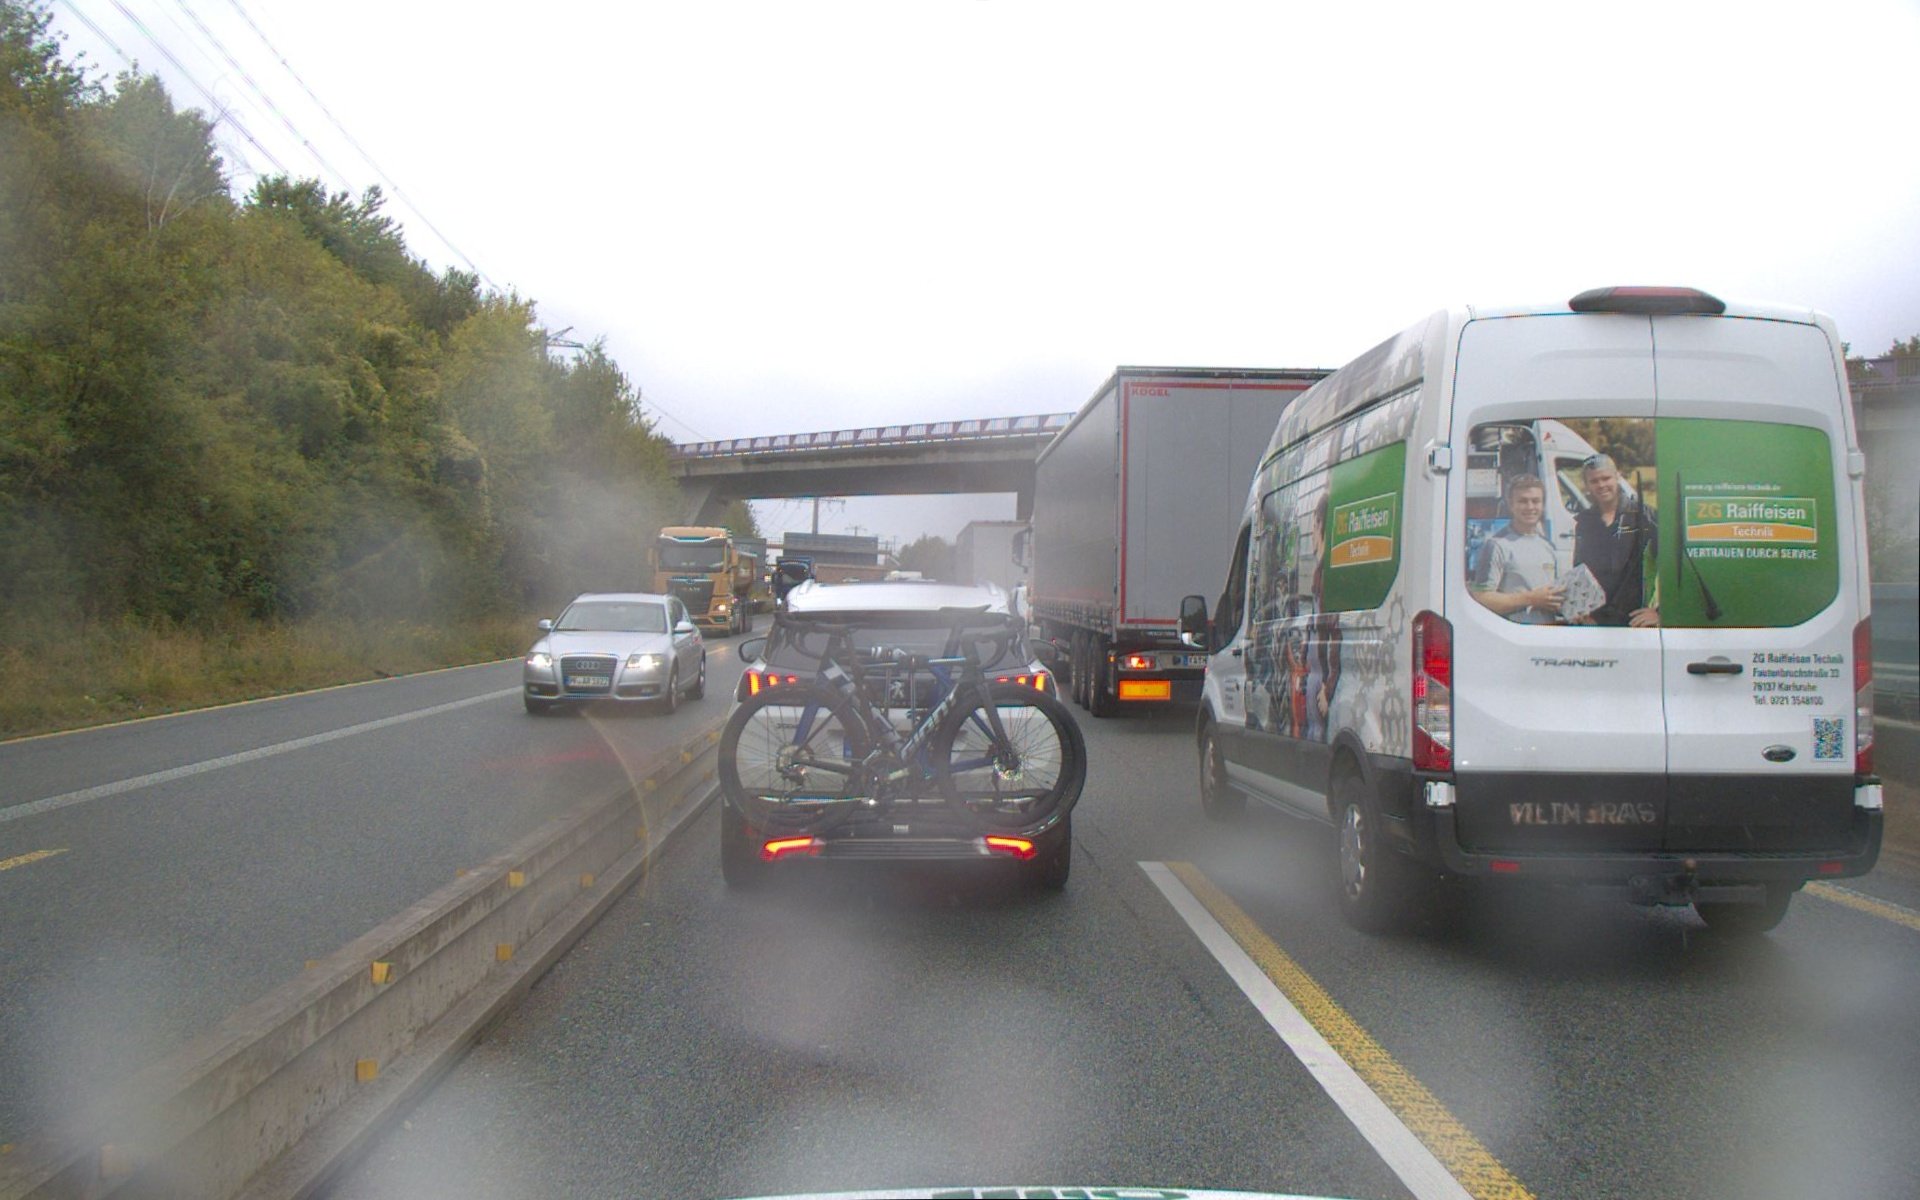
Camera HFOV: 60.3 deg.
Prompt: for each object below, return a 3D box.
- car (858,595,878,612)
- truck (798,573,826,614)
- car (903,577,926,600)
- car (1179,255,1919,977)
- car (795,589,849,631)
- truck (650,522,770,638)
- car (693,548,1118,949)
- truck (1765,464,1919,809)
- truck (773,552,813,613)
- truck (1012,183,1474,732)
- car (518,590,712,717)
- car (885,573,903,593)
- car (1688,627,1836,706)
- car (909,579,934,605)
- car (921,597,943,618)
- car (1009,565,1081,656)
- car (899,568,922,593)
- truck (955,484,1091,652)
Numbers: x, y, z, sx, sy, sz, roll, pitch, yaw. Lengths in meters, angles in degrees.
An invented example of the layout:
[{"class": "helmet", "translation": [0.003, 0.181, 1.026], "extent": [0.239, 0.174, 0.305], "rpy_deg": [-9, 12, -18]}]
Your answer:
[{"class": "car", "translation": [-7.966, 0.342, 143.851], "extent": [1.652, 1.434, 3.928], "rpy_deg": [1, 0, -3]}, {"class": "truck", "translation": [-15.591, -0.612, 174.333], "extent": [2.414, 4.195, 10.083], "rpy_deg": [1, 0, -2]}, {"class": "car", "translation": [-4.155, -1.011, 151.642], "extent": [1.953, 2.049, 3.999], "rpy_deg": [1, 0, -1]}, {"class": "car", "translation": [2.766, 0.076, 9.351], "extent": [2.101, 2.723, 6.115], "rpy_deg": [1, 0, -1]}, {"class": "car", "translation": [-5.527, 0.406, 66.642], "extent": [1.896, 1.635, 4.119], "rpy_deg": [1, 0, -1]}, {"class": "truck", "translation": [-8.767, -0.625, 59.494], "extent": [2.627, 3.720, 12.308], "rpy_deg": [1, 0, -1]}, {"class": "car", "translation": [-0.226, 0.634, 9.289], "extent": [1.773, 1.666, 4.635], "rpy_deg": [1, 0, 0]}, {"class": "truck", "translation": [10.160, 0.344, 13.584], "extent": [2.469, 3.186, 9.116], "rpy_deg": [1, 0, -1]}, {"class": "truck", "translation": [-12.556, -1.206, 123.138], "extent": [2.713, 4.195, 16.902], "rpy_deg": [1, 0, -6]}, {"class": "truck", "translation": [3.337, -1.465, 27.722], "extent": [3.899, 5.772, 20.371], "rpy_deg": [1, 0, -1]}, {"class": "car", "translation": [-4.349, 0.634, 21.454], "extent": [1.744, 1.469, 4.326], "rpy_deg": [1, 0, -2]}, {"class": "car", "translation": [-7.538, -1.960, 190.286], "extent": [1.953, 2.164, 4.525], "rpy_deg": [1, 0, -1]}, {"class": "car", "translation": [20.391, 1.644, 42.252], "extent": [1.809, 1.840, 4.157], "rpy_deg": [1, 0, 1]}, {"class": "car", "translation": [-3.151, -0.638, 135.906], "extent": [1.953, 2.049, 3.999], "rpy_deg": [1, 0, -1]}, {"class": "car", "translation": [-2.077, 0.564, 121.848], "extent": [1.605, 1.524, 3.665], "rpy_deg": [1, 0, -1]}, {"class": "car", "translation": [2.157, 0.275, 43.037], "extent": [1.636, 2.218, 4.534], "rpy_deg": [1, 0, 0]}, {"class": "car", "translation": [-4.935, -1.944, 164.366], "extent": [2.194, 2.348, 4.571], "rpy_deg": [1, 0, -1]}, {"class": "truck", "translation": [2.206, -1.073, 67.652], "extent": [4.646, 5.772, 20.374], "rpy_deg": [1, 0, 0]}]
